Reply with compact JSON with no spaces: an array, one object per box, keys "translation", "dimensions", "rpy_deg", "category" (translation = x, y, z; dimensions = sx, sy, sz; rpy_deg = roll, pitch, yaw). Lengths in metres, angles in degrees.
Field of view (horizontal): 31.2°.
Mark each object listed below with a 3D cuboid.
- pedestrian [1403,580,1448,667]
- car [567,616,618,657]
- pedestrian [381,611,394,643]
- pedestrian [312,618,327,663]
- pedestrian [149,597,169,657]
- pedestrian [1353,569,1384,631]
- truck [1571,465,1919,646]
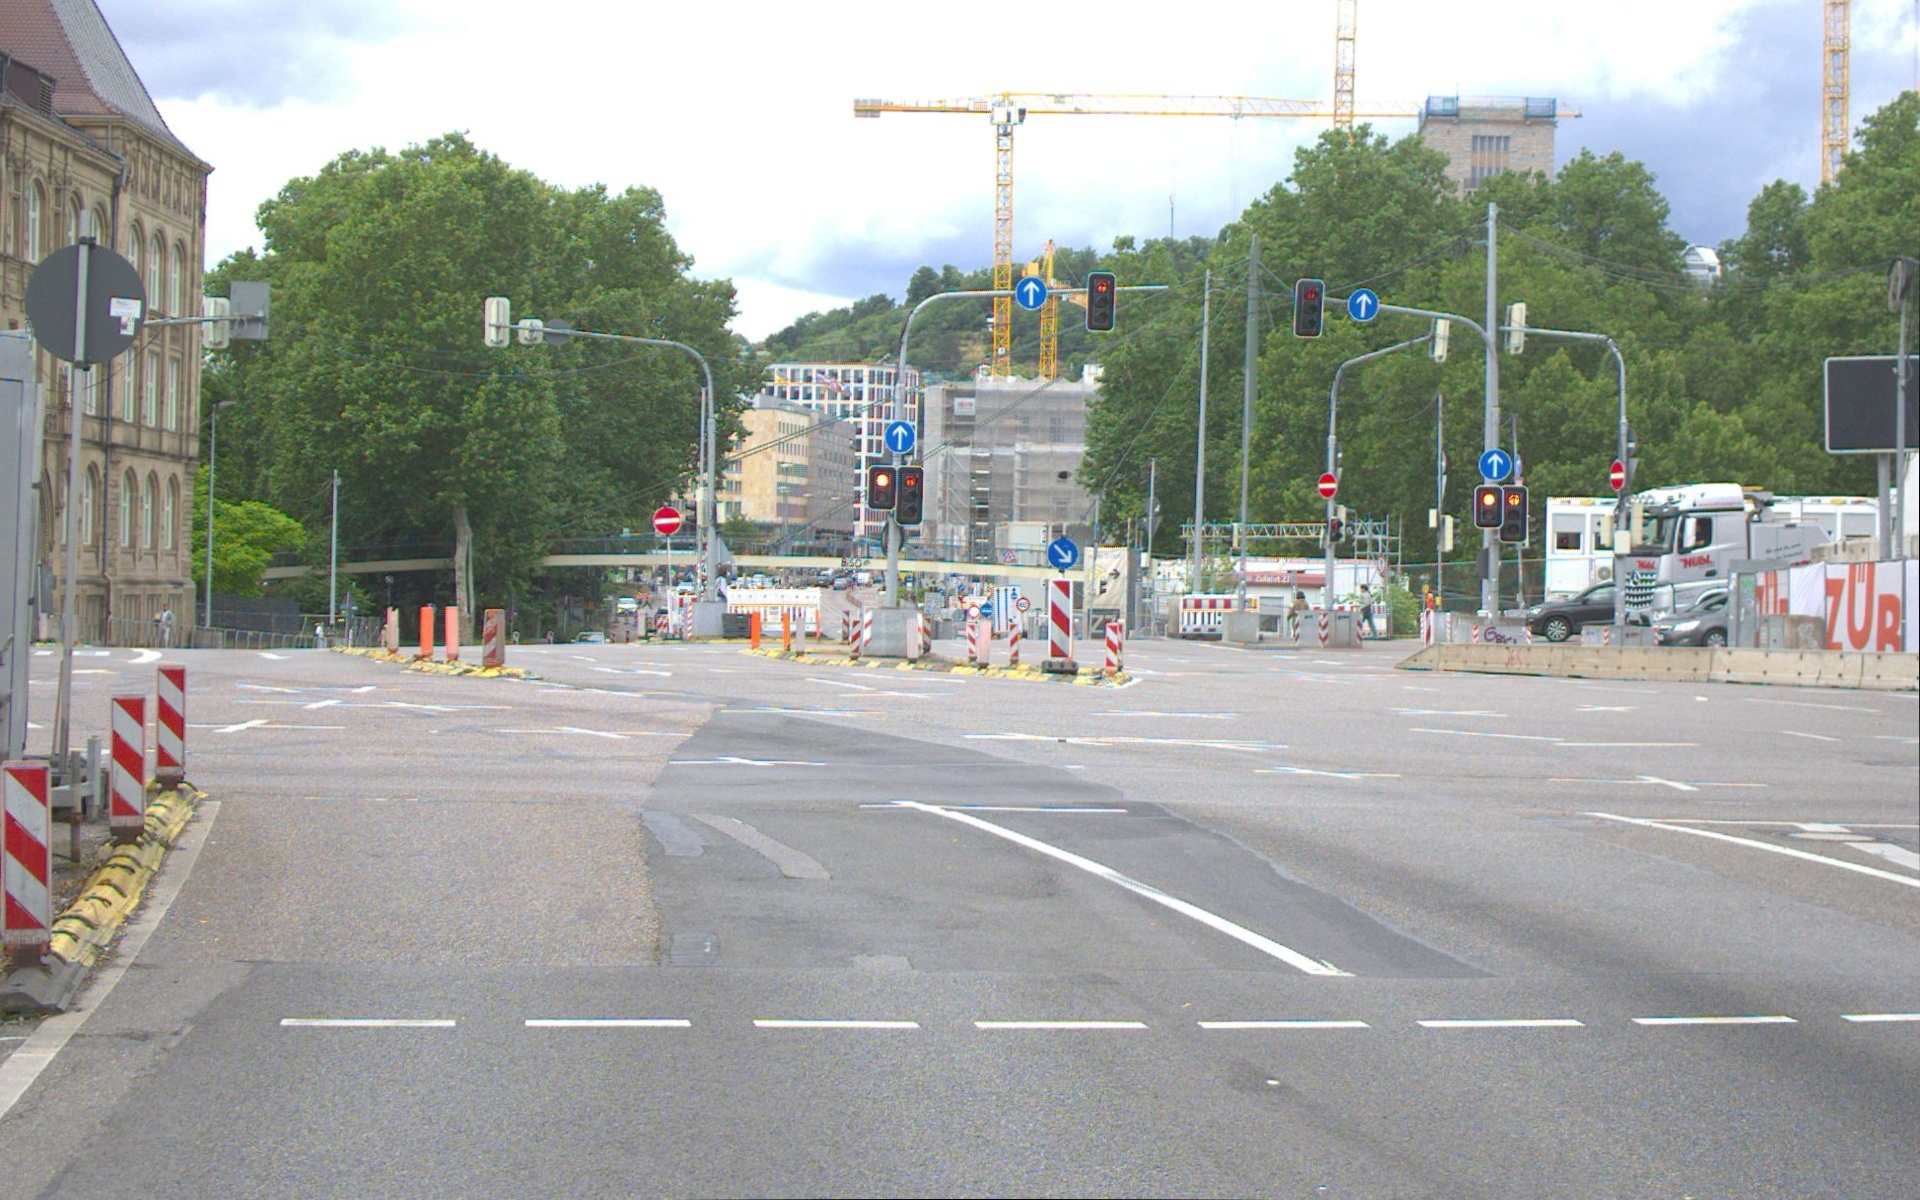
[{"translation":[9.134,0.460,67.454],"dimensions":[0.729,1.683,0.678],"rpy_deg":[1,1,-1],"category":"pedestrian"},{"translation":[-19.228,1.881,179.931],"dimensions":[1.994,2.007,4.000],"rpy_deg":[1,1,3],"category":"car"},{"translation":[-29.134,1.385,174.933],"dimensions":[0.536,1.587,0.516],"rpy_deg":[1,1,-4],"category":"pedestrian"},{"translation":[-28.676,1.804,153.959],"dimensions":[0.524,2.007,0.567],"rpy_deg":[1,1,0],"category":"pedestrian"},{"translation":[-27.062,0.914,116.116],"dimensions":[0.524,2.007,0.567],"rpy_deg":[1,1,0],"category":"pedestrian"},{"translation":[11.279,-0.003,94.908],"dimensions":[0.729,1.683,0.678],"rpy_deg":[1,1,-1],"category":"pedestrian"},{"translation":[21.359,-0.994,82.002],"dimensions":[13.022,4.027,3.952],"rpy_deg":[1,1,-20],"category":"truck"}]
